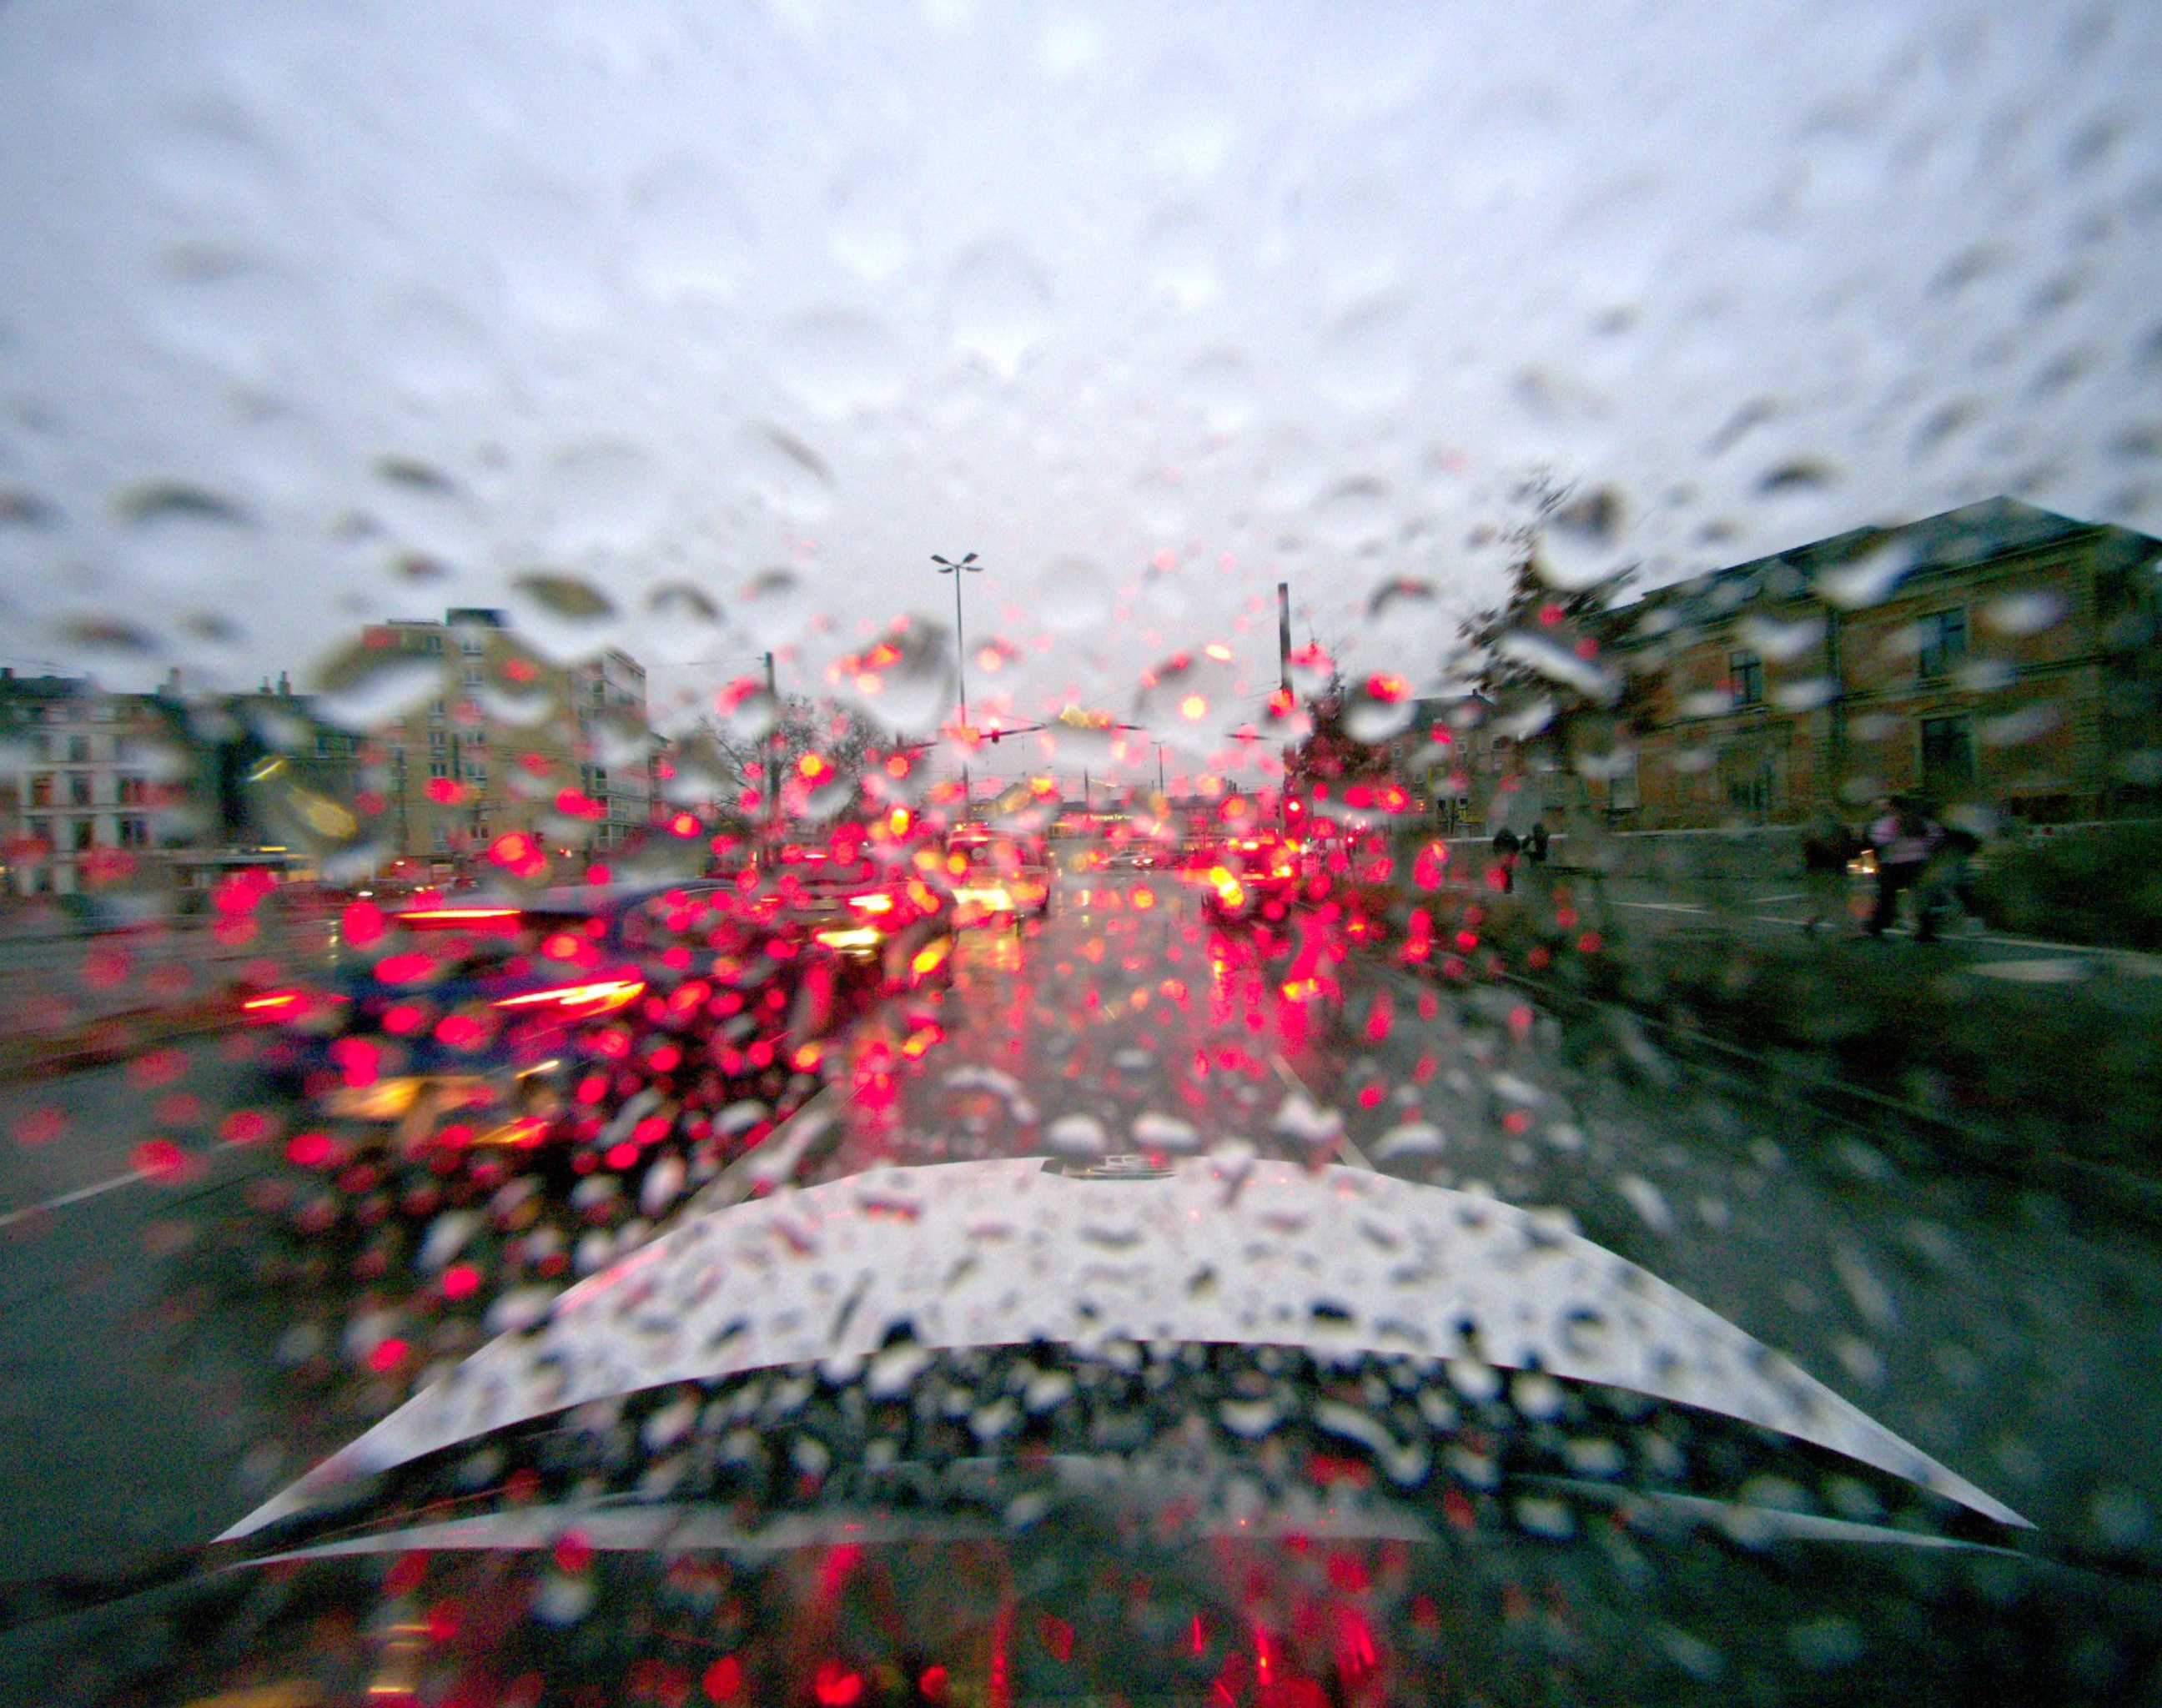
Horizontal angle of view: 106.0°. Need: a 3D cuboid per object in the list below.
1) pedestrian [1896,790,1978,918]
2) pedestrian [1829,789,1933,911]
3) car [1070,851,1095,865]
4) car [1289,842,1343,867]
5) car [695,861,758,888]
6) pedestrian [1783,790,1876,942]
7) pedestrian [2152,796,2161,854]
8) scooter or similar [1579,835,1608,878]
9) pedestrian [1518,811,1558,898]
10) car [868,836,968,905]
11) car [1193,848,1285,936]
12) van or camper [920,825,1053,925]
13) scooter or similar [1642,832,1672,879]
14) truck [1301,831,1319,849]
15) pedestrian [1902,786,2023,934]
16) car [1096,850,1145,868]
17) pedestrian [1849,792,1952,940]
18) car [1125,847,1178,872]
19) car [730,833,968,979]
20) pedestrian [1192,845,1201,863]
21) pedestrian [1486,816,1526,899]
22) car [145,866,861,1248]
[{"bbox_3d":[12.425,-0.003,11.831,0.582,1.791,0.557,-2,-1,-14],"label":"pedestrian"},{"bbox_3d":[12.202,-0.063,12.434,0.852,1.791,0.745,-2,-1,-14],"label":"pedestrian"},{"bbox_3d":[0.229,0.454,91.246,1.800,1.446,4.015,-3,0,14],"label":"car"},{"bbox_3d":[20.995,0.059,72.923,4.380,2.013,1.915,-3,0,6],"label":"car"},{"bbox_3d":[-26.622,1.500,61.252,3.995,1.772,1.989,-3,0,-16],"label":"car"},{"bbox_3d":[9.216,0.148,10.056,0.578,1.781,0.774,-4,-1,29],"label":"pedestrian"},{"bbox_3d":[32.283,-0.878,23.800,0.914,1.704,0.799,-3,0,-9],"label":"pedestrian"},{"bbox_3d":[14.960,0.058,23.751,0.507,1.213,1.392,-3,-1,39],"label":"scooter or similar"},{"bbox_3d":[10.867,0.010,19.387,0.800,2.013,0.765,-1,2,29],"label":"pedestrian"},{"bbox_3d":[-4.636,0.437,23.729,1.877,1.772,4.003,-2,0,3],"label":"car"},{"bbox_3d":[3.623,0.799,19.373,1.768,1.800,4.433,-1,0,6],"label":"car"},{"bbox_3d":[-2.121,0.459,19.943,2.191,2.109,4.995,-1,0,6],"label":"van or camper"},{"bbox_3d":[15.351,0.024,21.713,0.507,1.213,1.392,-3,-1,31],"label":"scooter or similar"},{"bbox_3d":[35.359,-2.189,125.791,1.976,2.691,5.143,-3,0,22],"label":"truck"},{"bbox_3d":[10.521,0.079,9.756,0.711,1.687,0.765,-3,-1,28],"label":"pedestrian"},{"bbox_3d":[3.290,0.417,68.292,3.804,1.366,1.845,-3,0,-10],"label":"car"},{"bbox_3d":[9.764,0.143,9.735,0.661,1.687,0.615,-3,0,29],"label":"pedestrian"},{"bbox_3d":[5.243,0.398,60.055,1.974,1.602,4.026,-3,0,37],"label":"car"},{"bbox_3d":[-2.873,0.571,11.236,1.778,1.601,4.544,0,0,2],"label":"car"},{"bbox_3d":[11.548,-0.003,81.608,0.594,1.840,0.613,-3,0,-30],"label":"pedestrian"},{"bbox_3d":[10.139,0.063,19.414,0.800,1.929,0.765,-1,2,29],"label":"pedestrian"},{"bbox_3d":[-2.783,0.812,5.210,1.654,1.404,4.118,0,0,-1],"label":"car"}]
